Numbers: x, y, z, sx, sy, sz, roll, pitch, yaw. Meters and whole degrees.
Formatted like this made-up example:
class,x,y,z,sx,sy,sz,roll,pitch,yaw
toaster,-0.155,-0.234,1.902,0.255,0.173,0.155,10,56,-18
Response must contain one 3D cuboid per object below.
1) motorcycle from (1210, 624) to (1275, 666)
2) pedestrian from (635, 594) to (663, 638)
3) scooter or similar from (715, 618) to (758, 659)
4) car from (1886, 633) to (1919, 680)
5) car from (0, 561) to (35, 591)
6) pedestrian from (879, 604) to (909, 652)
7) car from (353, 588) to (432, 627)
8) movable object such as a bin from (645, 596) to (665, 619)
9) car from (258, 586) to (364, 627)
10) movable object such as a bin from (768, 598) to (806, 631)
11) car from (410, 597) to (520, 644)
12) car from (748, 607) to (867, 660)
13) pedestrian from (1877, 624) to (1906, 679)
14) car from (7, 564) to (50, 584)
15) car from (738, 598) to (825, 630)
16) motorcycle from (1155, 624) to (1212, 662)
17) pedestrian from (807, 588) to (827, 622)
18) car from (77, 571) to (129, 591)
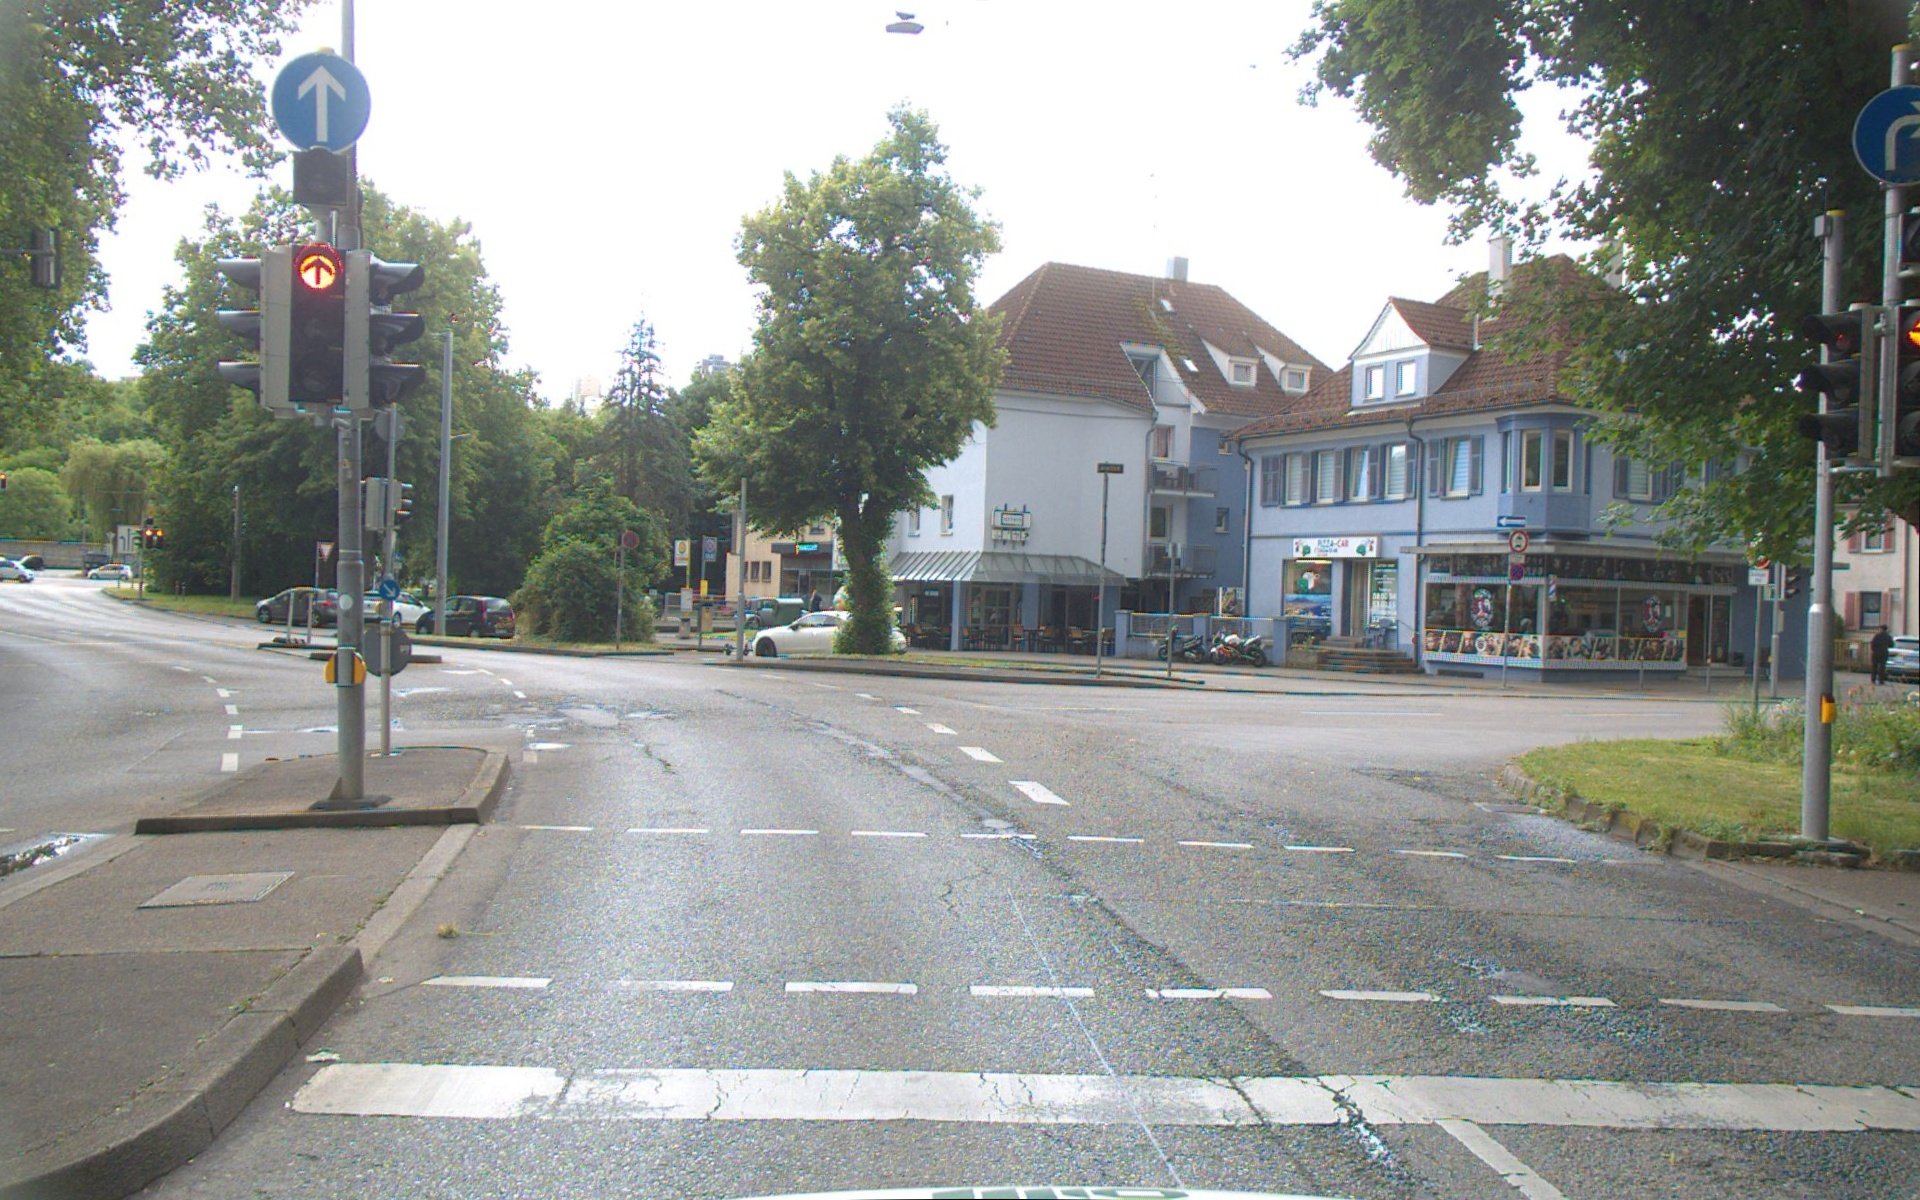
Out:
class,x,y,z,sx,sy,sz,roll,pitch,yaw
motorcycle,8.271,1.308,48.481,1.765,1.141,0.692,1,0,38
pedestrian,-11.232,0.573,59.778,0.694,1.572,0.675,1,0,39
scooter or similar,-5.733,0.981,42.543,0.408,1.029,1.567,1,0,20
car,29.872,1.736,51.396,1.471,1.393,3.164,1,0,38
car,-69.388,-1.748,119.667,3.923,2.049,1.855,1,0,-17
pedestrian,-2.229,0.940,55.845,0.754,1.572,0.675,1,0,38
car,-22.670,0.302,66.186,1.512,1.490,3.398,1,0,10
movable object such as a bin,-15.854,0.389,85.916,0.937,1.135,0.381,1,0,-22
car,-24.861,0.241,63.396,3.469,1.490,1.586,1,0,12
movable object such as a bin,-7.719,0.653,73.843,1.424,1.433,0.959,1,0,-27
car,-16.009,0.656,53.464,3.519,1.418,1.468,1,0,32
car,-4.247,0.915,45.959,3.110,1.378,1.435,1,0,34
pedestrian,26.705,1.475,47.418,0.455,1.544,0.579,1,-1,-40
car,-102.213,-2.845,181.495,3.948,2.049,1.978,1,0,-32
car,-8.159,0.636,75.733,3.690,1.368,1.421,1,0,-27
motorcycle,6.790,1.291,50.238,1.609,1.082,0.690,1,0,44
pedestrian,-6.692,0.230,77.504,0.670,1.572,0.699,2,0,-35
car,-75.642,-1.668,145.977,3.936,1.578,1.854,1,0,-25
